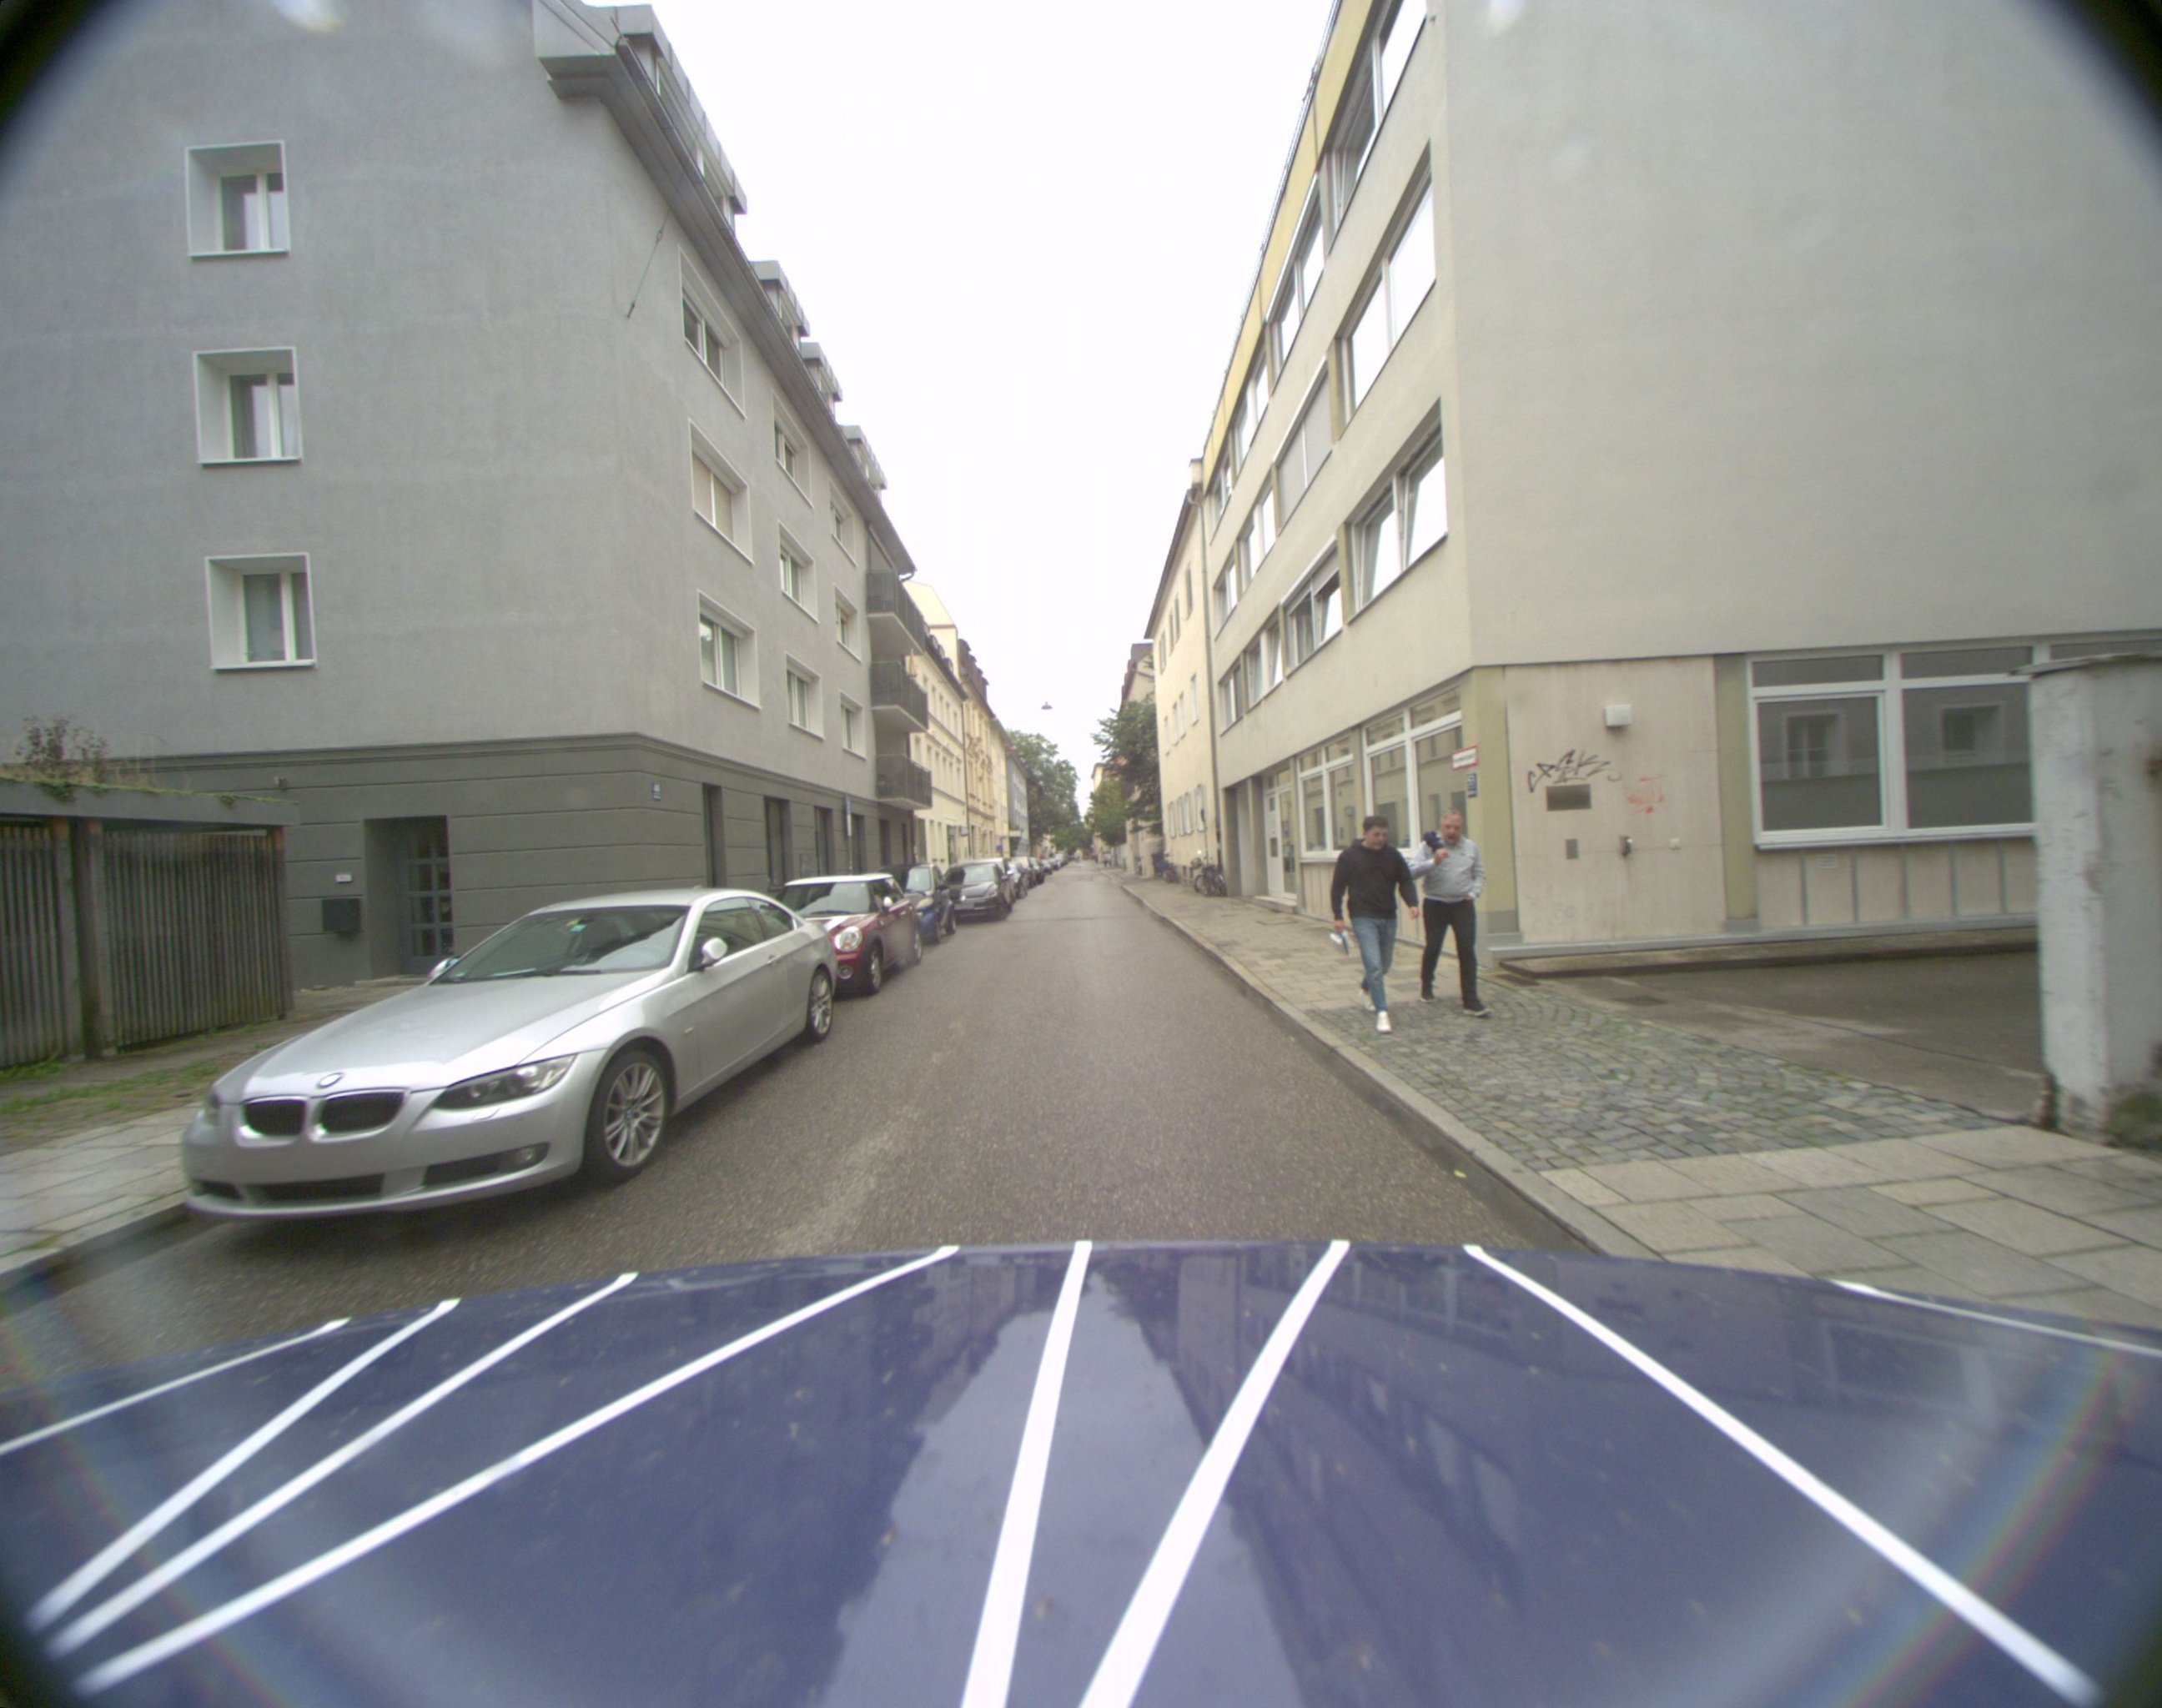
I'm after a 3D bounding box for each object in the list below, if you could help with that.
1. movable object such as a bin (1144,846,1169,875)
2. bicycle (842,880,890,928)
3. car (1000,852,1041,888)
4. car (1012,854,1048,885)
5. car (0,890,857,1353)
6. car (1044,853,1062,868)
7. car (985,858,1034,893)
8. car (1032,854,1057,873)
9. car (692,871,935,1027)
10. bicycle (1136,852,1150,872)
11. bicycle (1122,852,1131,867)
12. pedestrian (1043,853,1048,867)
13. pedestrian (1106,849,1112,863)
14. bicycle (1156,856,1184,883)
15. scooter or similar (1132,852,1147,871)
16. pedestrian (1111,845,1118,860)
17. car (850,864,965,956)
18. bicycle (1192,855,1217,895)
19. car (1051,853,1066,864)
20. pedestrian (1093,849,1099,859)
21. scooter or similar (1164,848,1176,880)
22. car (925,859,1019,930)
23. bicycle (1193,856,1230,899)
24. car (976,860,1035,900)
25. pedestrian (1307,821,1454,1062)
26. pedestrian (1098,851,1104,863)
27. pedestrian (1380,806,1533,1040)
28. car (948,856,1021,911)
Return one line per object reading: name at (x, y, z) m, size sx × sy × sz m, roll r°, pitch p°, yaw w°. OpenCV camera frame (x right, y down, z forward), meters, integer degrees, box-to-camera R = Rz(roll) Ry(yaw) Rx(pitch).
movable object such as a bin at (4.171, 0.346, 41.746) m, size 1.177 × 1.433 × 1.249 m, roll -8°, pitch -1°, yaw 6°
bicycle at (-5.518, 1.258, 19.648) m, size 0.570 × 1.085 × 1.996 m, roll -3°, pitch 0°, yaw 1°
car at (-3.075, 0.799, 39.531) m, size 1.680 × 1.651 × 4.512 m, roll -4°, pitch 0°, yaw 0°
car at (-2.979, 0.879, 45.375) m, size 1.706 × 1.597 × 4.684 m, roll -4°, pitch 0°, yaw 0°
car at (-3.147, 1.125, 5.191) m, size 1.841 × 1.409 × 4.600 m, roll -4°, pitch 0°, yaw -1°
car at (-3.059, 0.740, 83.595) m, size 1.846 × 1.420 × 4.263 m, roll -7°, pitch 0°, yaw -2°
car at (-3.173, 0.910, 34.586) m, size 1.804 × 1.377 × 4.348 m, roll -3°, pitch 0°, yaw 0°
car at (-3.151, 0.798, 66.207) m, size 1.830 × 1.327 × 4.508 m, roll -7°, pitch 0°, yaw 0°
car at (-3.262, 1.064, 10.203) m, size 1.750 × 1.453 × 4.149 m, roll -4°, pitch 0°, yaw -1°
bicycle at (3.822, 0.505, 47.002) m, size 0.545 × 1.154 × 1.882 m, roll -5°, pitch 1°, yaw -1°
bicycle at (3.640, 0.452, 60.644) m, size 0.539 × 1.132 × 1.916 m, roll -5°, pitch 1°, yaw -1°
pedestrian at (-4.916, 0.844, 104.686) m, size 0.581 × 1.966 × 0.455 m, roll -4°, pitch 1°, yaw 0°
pedestrian at (3.199, 0.214, 86.969) m, size 0.624 × 1.570 × 0.714 m, roll -4°, pitch 1°, yaw 0°
bicycle at (3.724, 0.635, 31.937) m, size 0.705 × 0.978 × 1.822 m, roll -7°, pitch 1°, yaw -4°
scooter or similar at (3.780, 0.496, 49.067) m, size 0.553 × 1.137 × 1.359 m, roll -5°, pitch 1°, yaw 17°
pedestrian at (3.829, -0.207, 86.942) m, size 0.615 × 1.612 × 0.687 m, roll -6°, pitch 1°, yaw 0°
car at (-3.351, 1.031, 15.243) m, size 1.525 × 1.503 × 3.201 m, roll -4°, pitch 0°, yaw -1°
bicycle at (3.848, 0.635, 23.794) m, size 0.459 × 1.153 × 1.605 m, roll -6°, pitch 1°, yaw 1°
car at (-3.186, 0.616, 108.057) m, size 1.860 × 1.366 × 4.509 m, roll -5°, pitch 1°, yaw -1°
pedestrian at (2.765, 0.074, 136.726) m, size 0.920 × 1.742 × 1.066 m, roll -3°, pitch 1°, yaw 0°
scooter or similar at (3.949, 0.418, 33.666) m, size 0.318 × 1.368 × 1.239 m, roll -2°, pitch 1°, yaw 0°
car at (-2.755, 0.983, 20.119) m, size 1.844 × 1.520 × 4.292 m, roll -4°, pitch 0°, yaw -1°
bicycle at (3.766, 0.660, 22.079) m, size 0.563 × 1.153 × 1.720 m, roll -4°, pitch 1°, yaw -6°
car at (-2.914, 0.970, 30.049) m, size 1.812 × 1.355 × 3.945 m, roll -3°, pitch 0°, yaw 1°
pedestrian at (2.370, 0.652, 6.110) m, size 0.720 × 1.755 × 0.838 m, roll -5°, pitch 1°, yaw 0°
pedestrian at (3.039, 0.500, 117.310) m, size 0.766 × 1.742 × 0.970 m, roll -3°, pitch 1°, yaw 0°
pedestrian at (3.129, 0.540, 6.419) m, size 0.720 × 1.786 × 0.916 m, roll -5°, pitch 1°, yaw 0°
car at (-3.053, 0.882, 24.839) m, size 1.880 × 1.561 × 4.315 m, roll -2°, pitch 0°, yaw -2°
